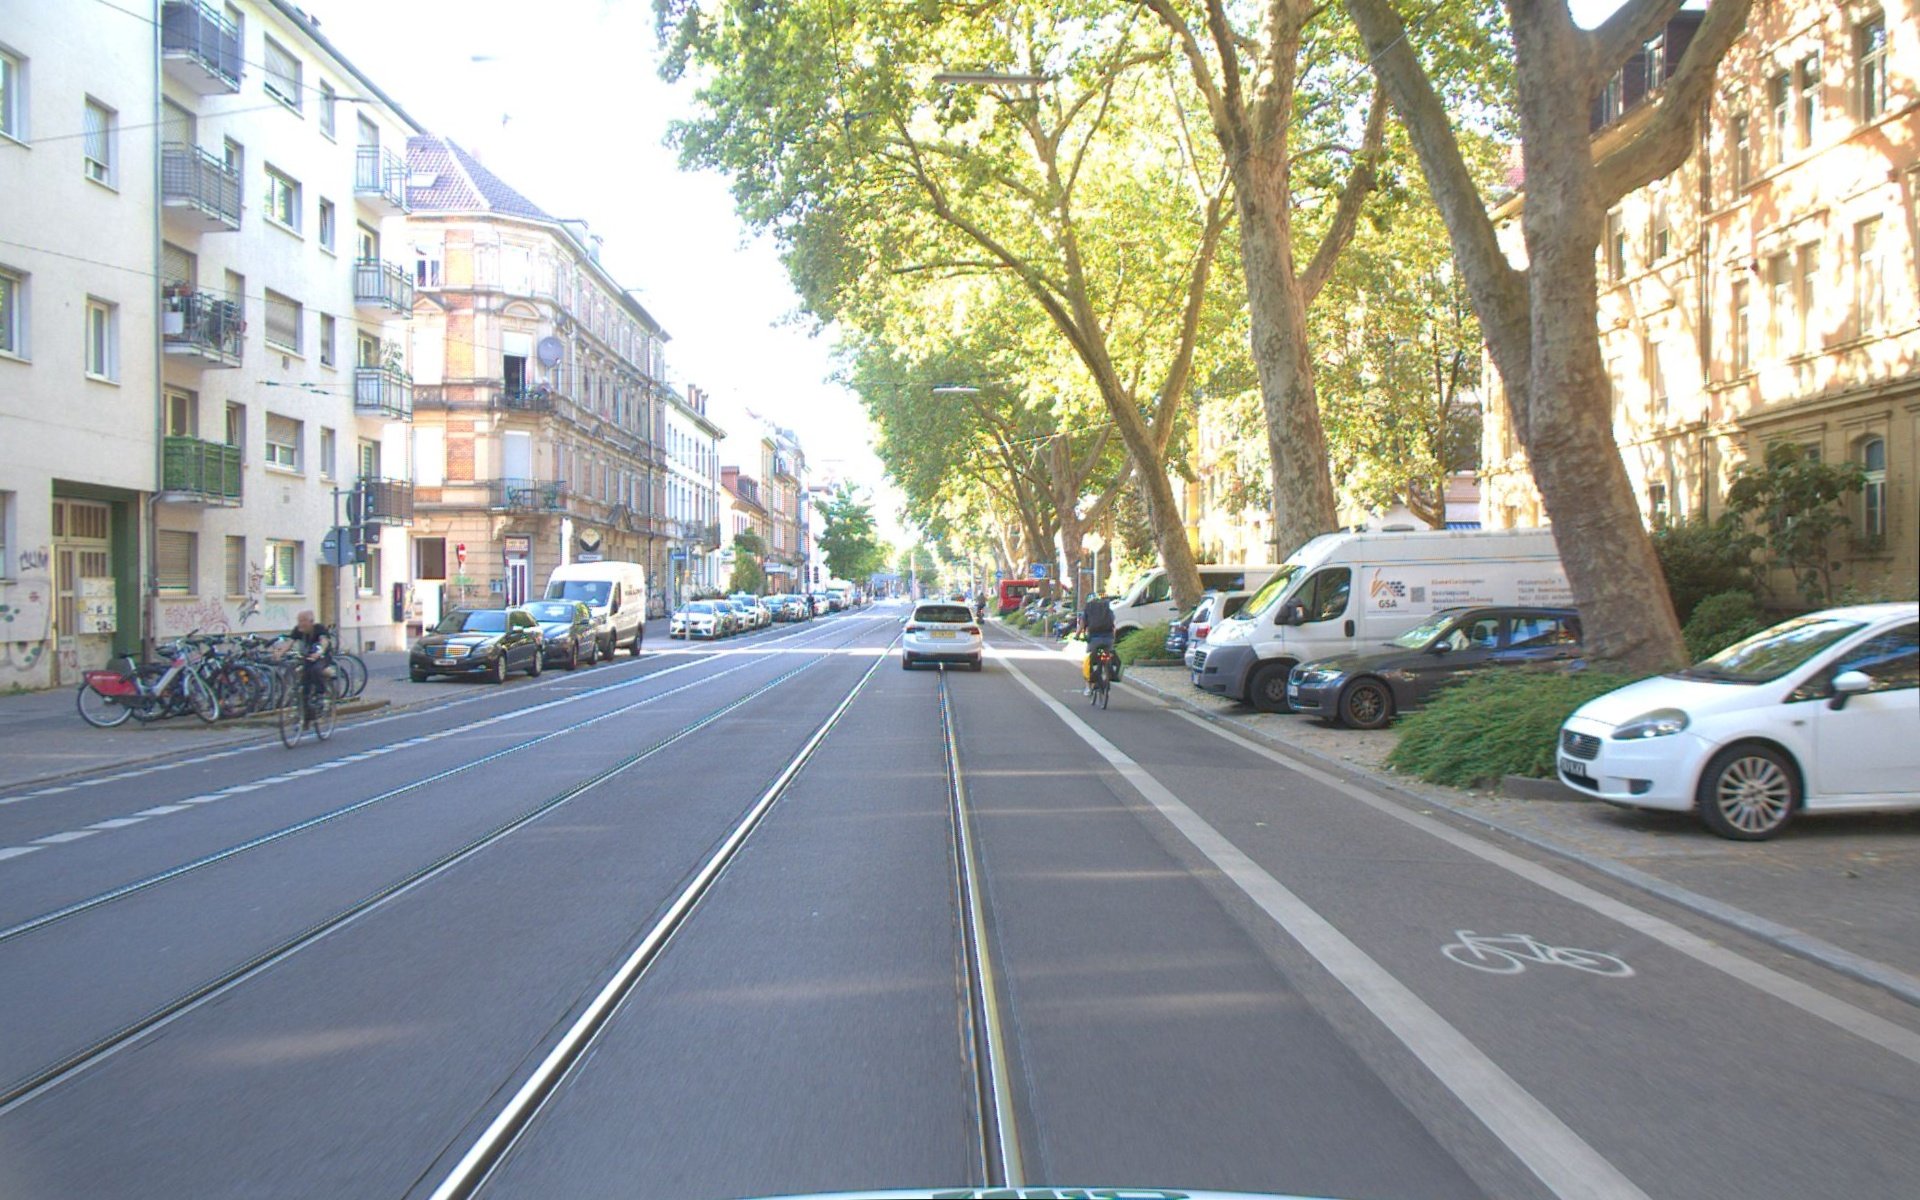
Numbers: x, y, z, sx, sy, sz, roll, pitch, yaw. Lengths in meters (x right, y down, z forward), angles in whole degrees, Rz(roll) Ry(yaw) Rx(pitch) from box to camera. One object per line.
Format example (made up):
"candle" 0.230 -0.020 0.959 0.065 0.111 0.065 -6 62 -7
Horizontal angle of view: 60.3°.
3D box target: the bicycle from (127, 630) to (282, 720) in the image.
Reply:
"bicycle" -10.051 0.993 22.019 1.890 1.138 0.440 1 0 6

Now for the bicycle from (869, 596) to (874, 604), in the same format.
"bicycle" -11.232 -0.003 209.486 0.488 0.959 1.922 -2 0 1

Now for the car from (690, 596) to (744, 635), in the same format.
"car" -10.361 0.636 70.797 1.705 1.589 4.784 1 0 -2

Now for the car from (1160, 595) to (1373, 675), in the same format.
"car" 6.052 0.677 32.947 3.874 1.504 1.796 -1 0 -1

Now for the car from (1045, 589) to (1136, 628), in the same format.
"car" 5.957 0.391 75.624 3.947 1.672 1.680 -1 0 -3

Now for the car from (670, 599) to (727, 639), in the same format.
"car" -10.296 0.734 65.325 1.705 1.518 4.043 1 0 -2

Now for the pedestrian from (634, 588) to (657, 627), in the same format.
"pedestrian" -13.747 0.326 72.299 0.650 1.694 0.767 1 0 31

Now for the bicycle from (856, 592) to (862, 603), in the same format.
"bicycle" -9.728 -0.263 159.495 0.471 1.105 1.846 -1 0 0

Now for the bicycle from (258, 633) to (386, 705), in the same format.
"bicycle" -9.865 1.057 25.590 1.853 1.056 0.402 1 0 6

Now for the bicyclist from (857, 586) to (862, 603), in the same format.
"bicyclist" -9.720 -0.560 159.654 0.463 1.664 0.800 -1 0 0

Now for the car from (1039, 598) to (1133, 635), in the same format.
"car" 5.508 0.698 72.797 3.947 1.506 1.681 -1 0 -2

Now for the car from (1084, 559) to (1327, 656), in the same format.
"car" 6.148 0.166 41.956 5.868 2.322 2.006 -1 1 1

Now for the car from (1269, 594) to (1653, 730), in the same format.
"car" 6.243 0.750 20.909 4.299 1.579 1.782 1 0 -2

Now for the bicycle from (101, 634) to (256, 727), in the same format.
"bicycle" -10.099 1.029 21.387 1.853 1.138 0.402 1 0 6

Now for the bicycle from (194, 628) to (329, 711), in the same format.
"bicycle" -10.019 0.990 23.732 1.780 1.138 0.425 1 0 6

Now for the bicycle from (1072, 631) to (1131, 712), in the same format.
"bicycle" 2.023 0.999 23.898 0.583 1.022 2.511 2 0 -1

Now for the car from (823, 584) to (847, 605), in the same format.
"car" -11.355 -0.498 150.062 1.925 1.812 4.935 2 0 -2

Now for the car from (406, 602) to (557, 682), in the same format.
"car" -9.627 0.809 33.656 1.683 1.482 4.572 0 0 1

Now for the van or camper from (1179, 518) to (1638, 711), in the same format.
"van or camper" 6.232 0.185 23.469 5.911 2.534 2.107 -1 0 -2

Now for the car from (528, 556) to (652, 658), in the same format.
"car" -9.966 0.163 45.017 2.022 2.580 5.667 0 0 1

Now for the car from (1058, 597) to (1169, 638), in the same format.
"car" 5.874 0.667 63.639 4.014 1.517 1.830 0 0 -3

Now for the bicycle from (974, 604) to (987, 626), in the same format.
"bicycle" 1.158 0.845 92.878 0.666 1.175 2.964 1 0 -1

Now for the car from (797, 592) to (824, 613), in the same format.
"car" -11.548 0.162 127.981 1.790 1.529 4.686 1 0 -3

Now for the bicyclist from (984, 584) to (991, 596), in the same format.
"bicyclist" 3.677 -1.385 220.957 0.721 1.617 0.587 -1 0 12

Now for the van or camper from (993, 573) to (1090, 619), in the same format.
"van or camper" 5.005 -0.269 102.218 5.699 2.562 2.287 -2 1 -3

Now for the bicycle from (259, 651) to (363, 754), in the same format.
"bicycle" -7.353 1.134 18.823 0.408 1.035 1.946 -2 0 -1

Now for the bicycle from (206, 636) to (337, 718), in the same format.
"bicycle" -10.003 1.107 24.035 1.751 1.138 0.425 1 0 6

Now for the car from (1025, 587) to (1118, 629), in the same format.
"car" 5.283 0.369 78.645 4.178 1.748 1.848 -3 0 -3

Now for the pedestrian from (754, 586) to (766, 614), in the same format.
"pedestrian" -13.207 -0.022 109.101 0.744 1.853 0.829 0 0 -4

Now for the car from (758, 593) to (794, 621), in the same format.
"car" -10.736 0.392 96.571 1.522 1.542 3.925 -1 0 2

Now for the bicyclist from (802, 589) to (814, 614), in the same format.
"bicyclist" -9.076 0.077 98.766 0.571 1.508 0.807 -1 0 -1

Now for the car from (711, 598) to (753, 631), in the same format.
"car" -10.475 0.656 76.087 1.666 1.445 3.996 1 0 -5

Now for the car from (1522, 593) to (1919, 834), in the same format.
"car" 6.159 0.723 11.560 3.872 1.506 1.689 -1 0 1

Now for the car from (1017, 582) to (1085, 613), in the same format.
"car" 5.358 -0.131 97.748 3.743 1.678 1.766 -2 -1 -4

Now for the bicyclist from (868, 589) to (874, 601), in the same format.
"bicyclist" -11.235 -0.623 209.539 0.625 1.529 1.070 -1 0 0

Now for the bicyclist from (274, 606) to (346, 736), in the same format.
"bicyclist" -7.355 0.787 18.732 0.498 1.418 0.709 -2 0 -1

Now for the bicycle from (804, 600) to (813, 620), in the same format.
"bicycle" -9.051 0.579 98.859 0.412 1.170 2.231 -1 0 -2

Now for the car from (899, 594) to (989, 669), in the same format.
"car" -0.392 0.643 35.722 1.805 1.506 3.836 1 0 -3

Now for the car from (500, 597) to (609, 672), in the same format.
"car" -9.581 0.770 39.375 1.684 1.660 4.345 0 0 -2

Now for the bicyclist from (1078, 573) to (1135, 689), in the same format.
"bicyclist" 2.075 0.429 23.516 0.602 1.579 0.935 4 0 -1

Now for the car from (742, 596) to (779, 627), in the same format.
"car" -10.424 0.596 86.488 1.629 1.547 4.062 1 0 -3

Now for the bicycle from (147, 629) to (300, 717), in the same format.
"bicycle" -10.037 0.992 22.558 1.919 1.138 0.440 1 0 6

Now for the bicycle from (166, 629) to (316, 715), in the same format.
"bicycle" -10.013 0.992 23.045 1.926 1.138 0.425 1 0 6

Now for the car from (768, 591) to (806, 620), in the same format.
"car" -10.610 0.327 101.563 1.818 1.733 4.763 -1 0 0

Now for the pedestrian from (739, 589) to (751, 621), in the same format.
"pedestrian" -14.178 0.325 109.093 0.744 2.049 0.829 0 0 -3

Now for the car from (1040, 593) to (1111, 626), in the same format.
"car" 5.966 0.489 85.579 3.522 1.627 1.541 -1 -1 -1

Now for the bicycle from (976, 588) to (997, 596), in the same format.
"bicycle" 3.580 -1.040 220.977 2.711 1.017 0.593 1 0 14

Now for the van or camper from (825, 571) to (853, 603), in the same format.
"van or camper" -12.286 -1.292 168.373 2.171 3.195 7.114 1 0 1

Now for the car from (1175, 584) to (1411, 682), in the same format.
"car" 6.020 0.591 30.176 3.876 1.684 1.795 -1 -1 -4

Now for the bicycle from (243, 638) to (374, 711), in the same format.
"bicycle" -9.870 1.121 25.071 1.853 1.056 0.402 1 0 6

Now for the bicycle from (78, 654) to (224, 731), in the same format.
"bicycle" -10.155 1.158 20.797 1.592 0.933 0.400 1 0 -18

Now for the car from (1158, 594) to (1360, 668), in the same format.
"car" 6.367 0.638 35.517 3.973 1.485 1.795 -1 0 -3

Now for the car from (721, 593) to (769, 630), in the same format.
"car" -10.533 0.536 81.202 1.750 1.753 4.718 1 0 -1

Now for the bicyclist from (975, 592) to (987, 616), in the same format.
"bicyclist" 1.178 0.229 92.807 0.665 1.362 0.525 1 0 -1
